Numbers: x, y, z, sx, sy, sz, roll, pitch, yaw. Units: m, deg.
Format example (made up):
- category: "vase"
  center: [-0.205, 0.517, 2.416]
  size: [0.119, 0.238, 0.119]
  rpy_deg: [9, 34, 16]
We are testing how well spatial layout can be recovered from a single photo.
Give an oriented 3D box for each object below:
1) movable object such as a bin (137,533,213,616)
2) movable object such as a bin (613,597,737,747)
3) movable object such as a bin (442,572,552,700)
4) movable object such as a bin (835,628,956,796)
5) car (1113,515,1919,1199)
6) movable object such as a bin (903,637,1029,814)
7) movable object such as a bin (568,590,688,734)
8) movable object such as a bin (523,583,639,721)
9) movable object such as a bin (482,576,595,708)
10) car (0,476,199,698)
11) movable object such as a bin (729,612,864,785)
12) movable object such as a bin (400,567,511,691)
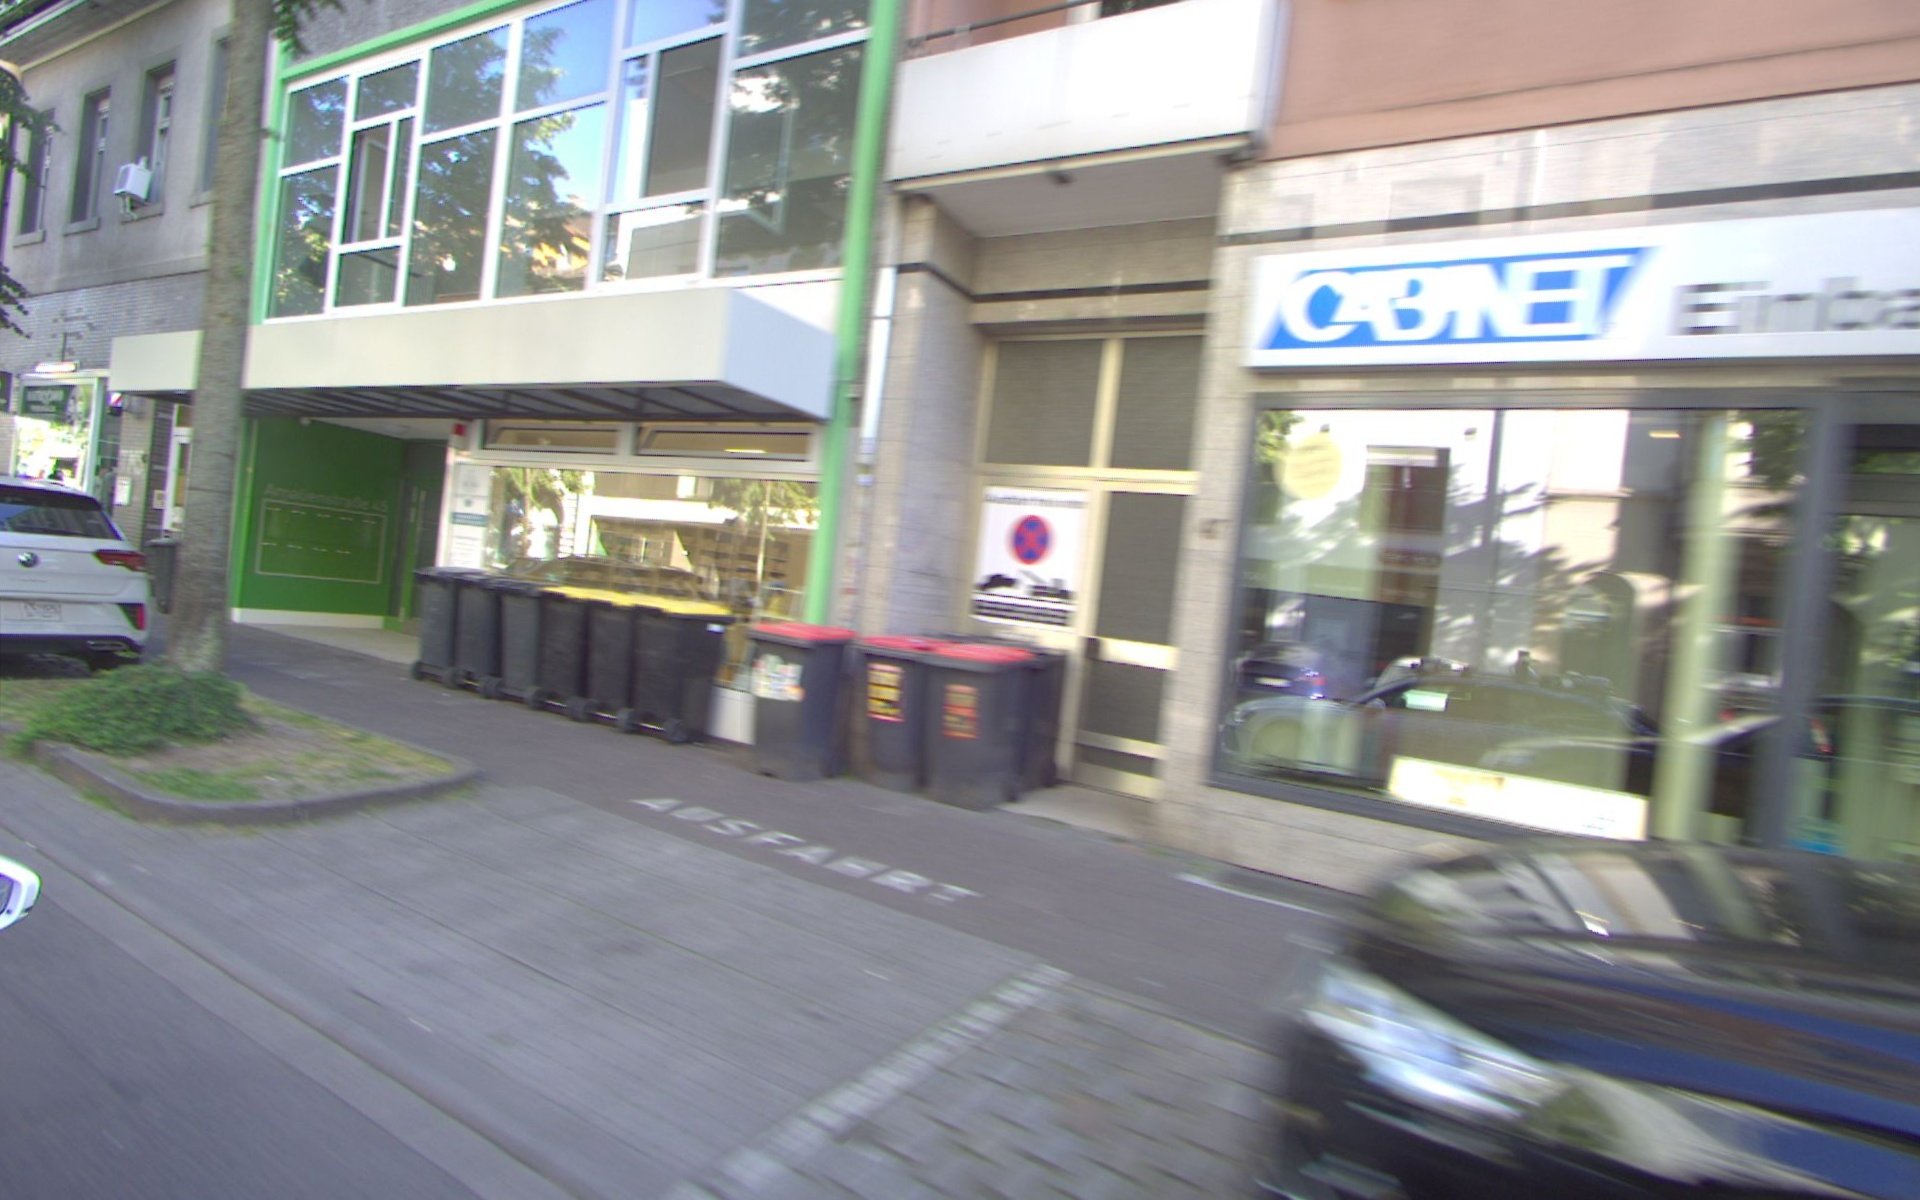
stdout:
- category: "movable object such as a bin"
  center: [-10.047, -0.320, 12.878]
  size: [0.644, 0.969, 0.523]
  rpy_deg: [7, 1, 33]
- category: "movable object such as a bin"
  center: [-2.255, 0.563, 7.975]
  size: [0.580, 1.077, 0.611]
  rpy_deg: [7, 1, 32]
- category: "movable object such as a bin"
  center: [-4.246, 0.332, 9.235]
  size: [0.580, 1.077, 0.614]
  rpy_deg: [7, 1, 32]
- category: "movable object such as a bin"
  center: [-0.453, 0.776, 7.127]
  size: [0.564, 1.077, 0.499]
  rpy_deg: [7, 1, 32]
- category: "car"
  center: [2.671, 0.962, 1.364]
  size: [4.441, 1.713, 1.994]
  rpy_deg: [7, 3, 31]
- category: "movable object such as a bin"
  center: [0.042, 0.826, 6.809]
  size: [0.564, 1.077, 0.499]
  rpy_deg: [7, 1, 32]
- category: "movable object such as a bin"
  center: [-2.732, 0.504, 8.292]
  size: [0.580, 1.077, 0.614]
  rpy_deg: [7, 1, 32]
- category: "movable object such as a bin"
  center: [-3.242, 0.444, 8.620]
  size: [0.580, 1.077, 0.614]
  rpy_deg: [7, 1, 32]
- category: "movable object such as a bin"
  center: [-3.738, 0.372, 8.936]
  size: [0.580, 1.077, 0.614]
  rpy_deg: [7, 1, 32]
- category: "car"
  center: [-8.344, -0.286, 8.257]
  size: [4.163, 1.547, 1.884]
  rpy_deg: [7, 2, 31]
- category: "movable object such as a bin"
  center: [-1.154, 0.682, 7.132]
  size: [0.564, 1.108, 0.625]
  rpy_deg: [7, 1, 32]
- category: "movable object such as a bin"
  center: [-4.787, 0.277, 9.548]
  size: [0.644, 1.077, 0.614]
  rpy_deg: [7, 1, 32]
